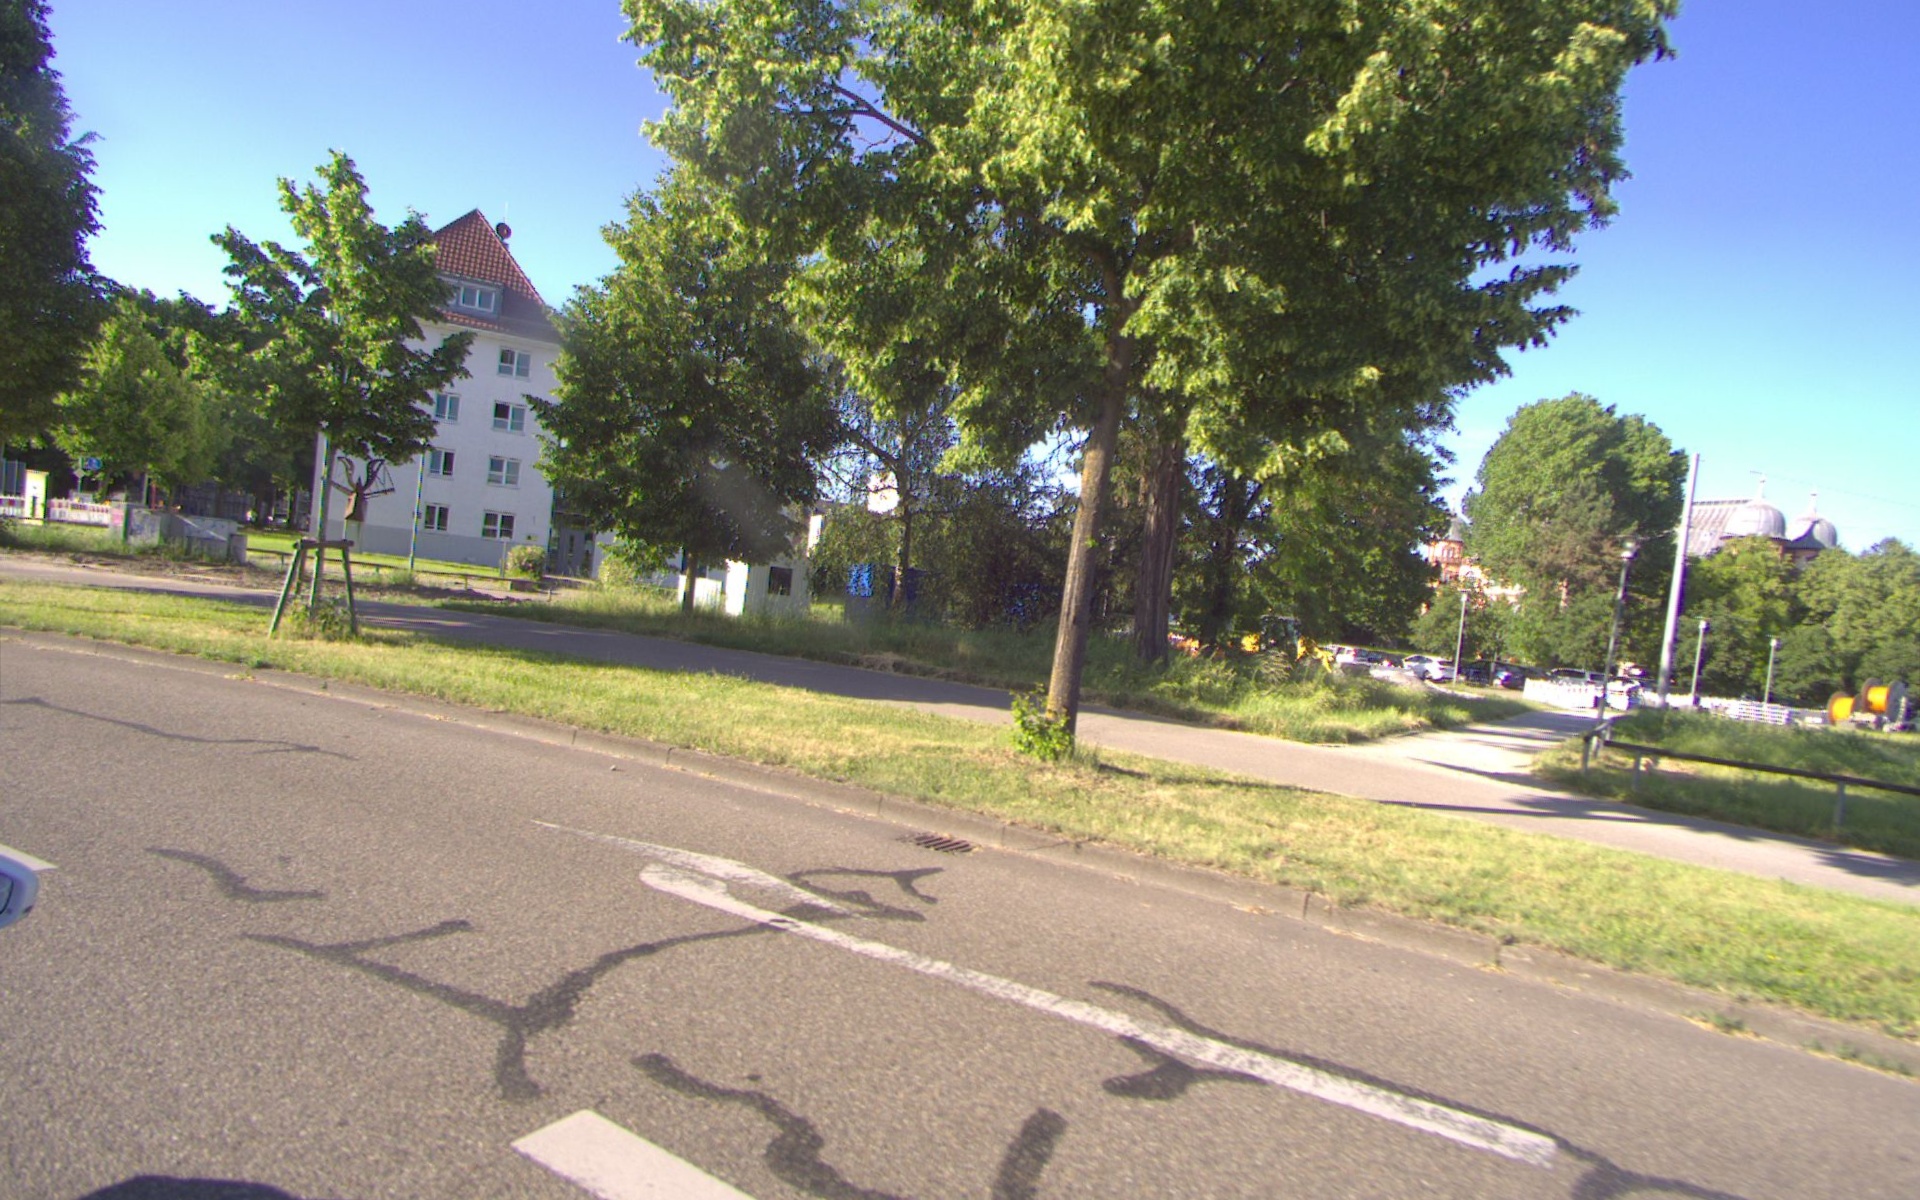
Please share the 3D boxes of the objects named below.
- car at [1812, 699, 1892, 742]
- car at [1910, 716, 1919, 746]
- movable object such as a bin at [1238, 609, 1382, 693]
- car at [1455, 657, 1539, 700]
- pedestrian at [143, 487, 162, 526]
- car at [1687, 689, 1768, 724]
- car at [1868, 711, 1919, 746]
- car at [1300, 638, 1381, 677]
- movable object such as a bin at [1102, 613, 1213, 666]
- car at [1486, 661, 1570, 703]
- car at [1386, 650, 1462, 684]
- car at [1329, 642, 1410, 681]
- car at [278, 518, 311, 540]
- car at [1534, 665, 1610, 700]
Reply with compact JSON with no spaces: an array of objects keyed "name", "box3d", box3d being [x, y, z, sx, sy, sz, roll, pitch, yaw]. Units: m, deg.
[{"name":"car","box3d":[68.476,9.207,77.299,1.974,2.684,3.980,7,-2,-23]},{"name":"car","box3d":[60.928,8.272,61.233,1.890,1.776,3.980,7,-2,-23]},{"name":"movable object such as a bin","box3d":[13.861,1.963,40.107,1.981,2.821,5.004,7,-2,-34]},{"name":"car","box3d":[32.737,4.741,61.457,1.974,2.124,3.980,7,-2,-23]},{"name":"pedestrian","box3d":[-43.103,-4.990,53.707,0.464,2.039,0.453,6,1,-14]},{"name":"car","box3d":[54.628,7.570,71.666,1.974,1.918,3.980,7,-2,-23]},{"name":"car","box3d":[57.454,7.821,60.274,1.974,1.776,3.980,7,-2,-23]},{"name":"car","box3d":[21.625,3.260,57.308,1.974,1.743,3.980,7,-2,-23]},{"name":"movable object such as a bin","box3d":[9.637,1.954,49.047,4.970,1.971,2.222,8,-2,-32]},{"name":"car","box3d":[35.341,5.098,62.696,1.974,2.124,3.980,7,-2,-23]},{"name":"car","box3d":[27.381,3.909,59.474,1.808,1.574,3.790,7,-2,-22]},{"name":"car","box3d":[23.595,3.525,58.099,1.974,1.789,3.980,7,-2,-23]},{"name":"car","box3d":[-75.366,-8.015,113.973,1.972,1.893,3.984,7,-2,-20]},{"name":"car","box3d":[39.396,5.283,64.846,1.670,1.800,3.832,7,-2,-20]}]
